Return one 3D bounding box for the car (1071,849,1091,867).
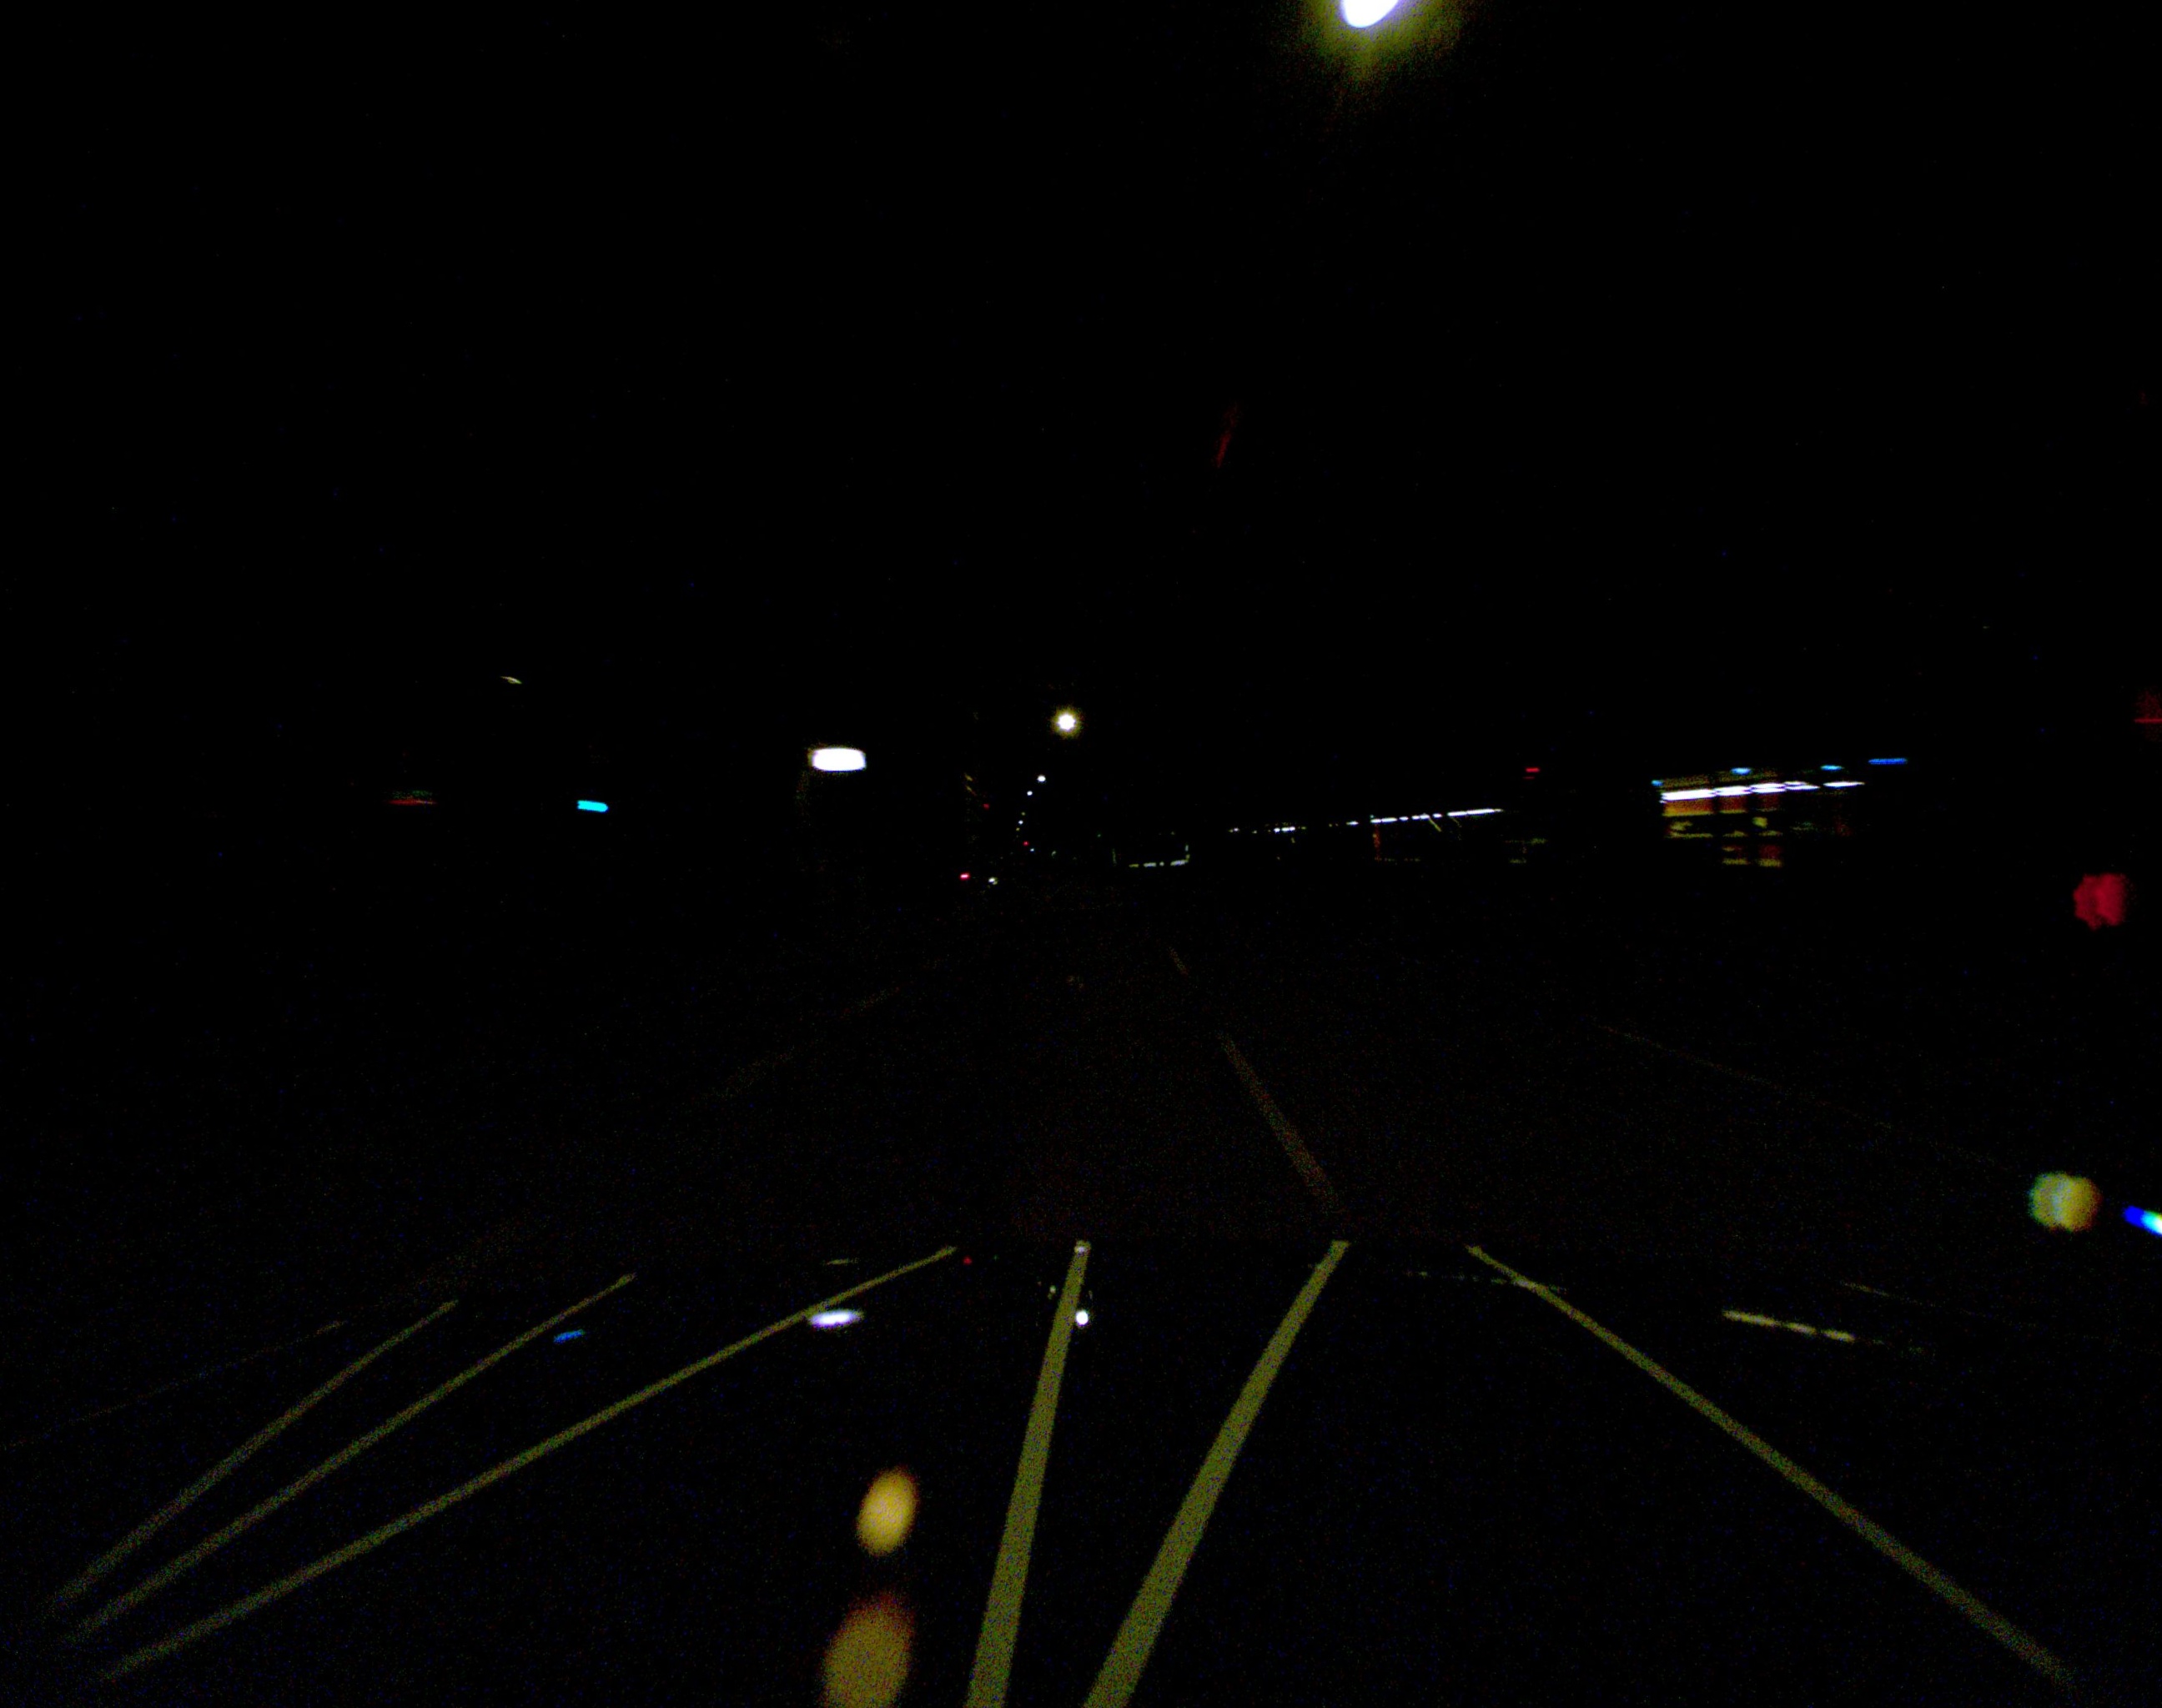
[{"bbox_3d":[-0.042,0.448,85.824,1.883,1.798,3.730,-5,0,-3],"label":"car"}]

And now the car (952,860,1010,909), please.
[{"bbox_3d":[-3.442,1.010,26.600,1.591,1.452,3.796,-3,0,-2],"label":"car"}]

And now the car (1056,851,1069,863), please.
[{"bbox_3d":[-2.780,0.424,113.751,1.827,1.637,3.730,-1,0,-3],"label":"car"}]

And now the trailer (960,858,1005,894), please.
[{"bbox_3d":[-4.578,1.004,35.716,1.605,1.486,3.733,-3,0,-1],"label":"trailer"}]

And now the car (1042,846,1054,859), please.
[{"bbox_3d":[-6.940,-0.271,158.132,2.006,2.493,4.951,-5,0,-6],"label":"car"}]

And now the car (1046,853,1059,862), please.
[{"bbox_3d":[-4.768,0.624,128.181,1.827,1.423,3.729,-5,0,-6],"label":"car"}]

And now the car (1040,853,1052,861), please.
[{"bbox_3d":[-6.768,0.584,146.788,1.827,1.423,3.729,-5,0,-6],"label":"car"}]

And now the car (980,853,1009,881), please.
[{"bbox_3d":[-5.777,0.853,50.552,1.782,1.762,4.419,-1,0,-8],"label":"car"}]

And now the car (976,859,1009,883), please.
[{"bbox_3d":[-5.266,0.994,45.647,1.781,1.351,4.421,-1,0,-4],"label":"car"}]

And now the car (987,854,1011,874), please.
[{"bbox_3d":[-7.044,0.824,64.830,1.935,1.655,3.771,-1,0,-7],"label":"car"}]

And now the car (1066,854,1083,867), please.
[{"bbox_3d":[-0.829,0.768,91.795,1.826,1.423,3.730,-5,0,-3],"label":"car"}]
